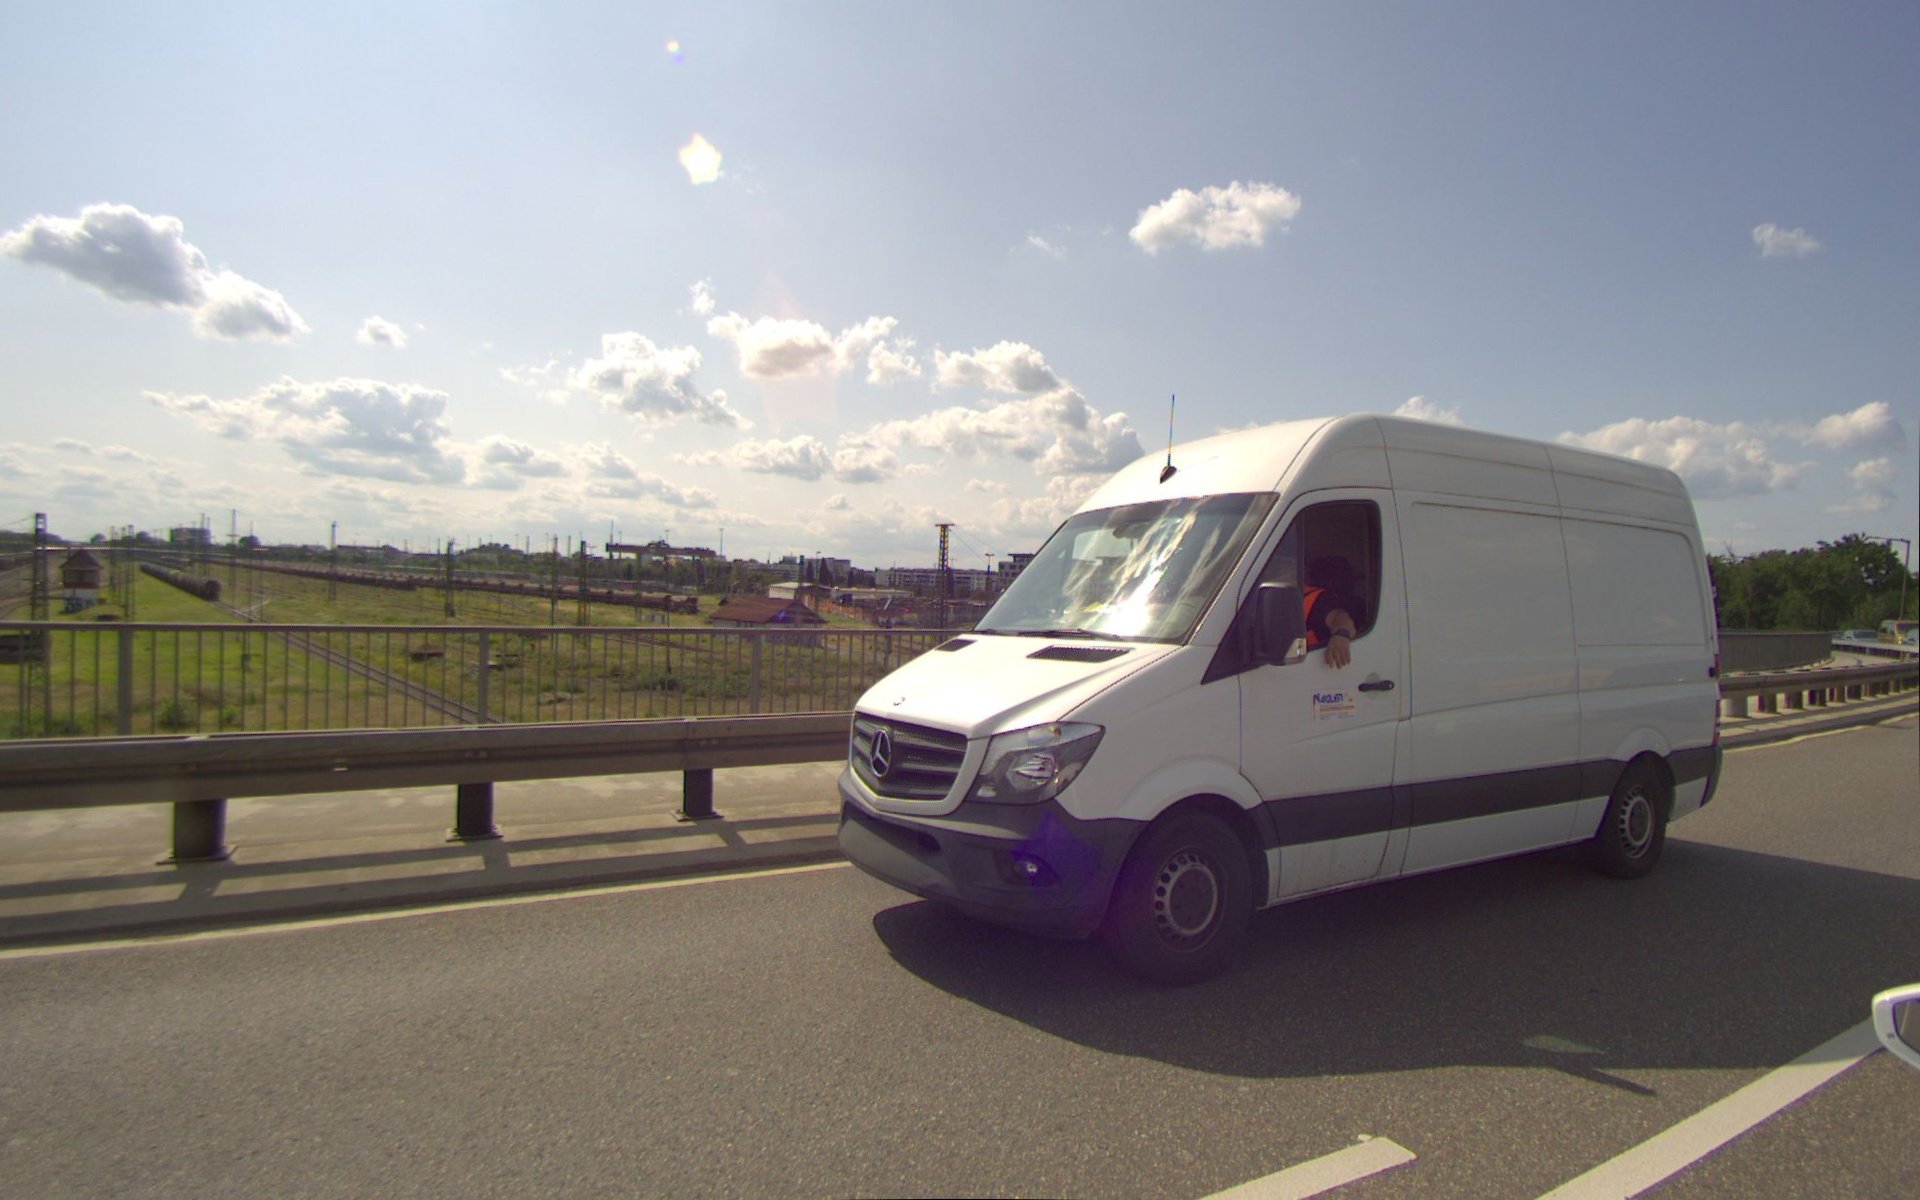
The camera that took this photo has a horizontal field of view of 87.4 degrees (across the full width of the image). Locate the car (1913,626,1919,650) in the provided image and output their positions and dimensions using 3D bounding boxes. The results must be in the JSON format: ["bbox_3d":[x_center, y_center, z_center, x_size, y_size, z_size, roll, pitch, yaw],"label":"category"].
[{"bbox_3d":[61.843,2.431,63.311,1.788,1.506,3.991,0,-1,32],"label":"car"}]

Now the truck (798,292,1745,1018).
[{"bbox_3d":[2.180,0.262,5.927,5.881,2.541,1.983,1,-1,-32],"label":"truck"}]

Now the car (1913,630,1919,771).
[{"bbox_3d":[12.330,1.108,11.197,4.257,1.479,1.754,2,-2,-36],"label":"car"}]
